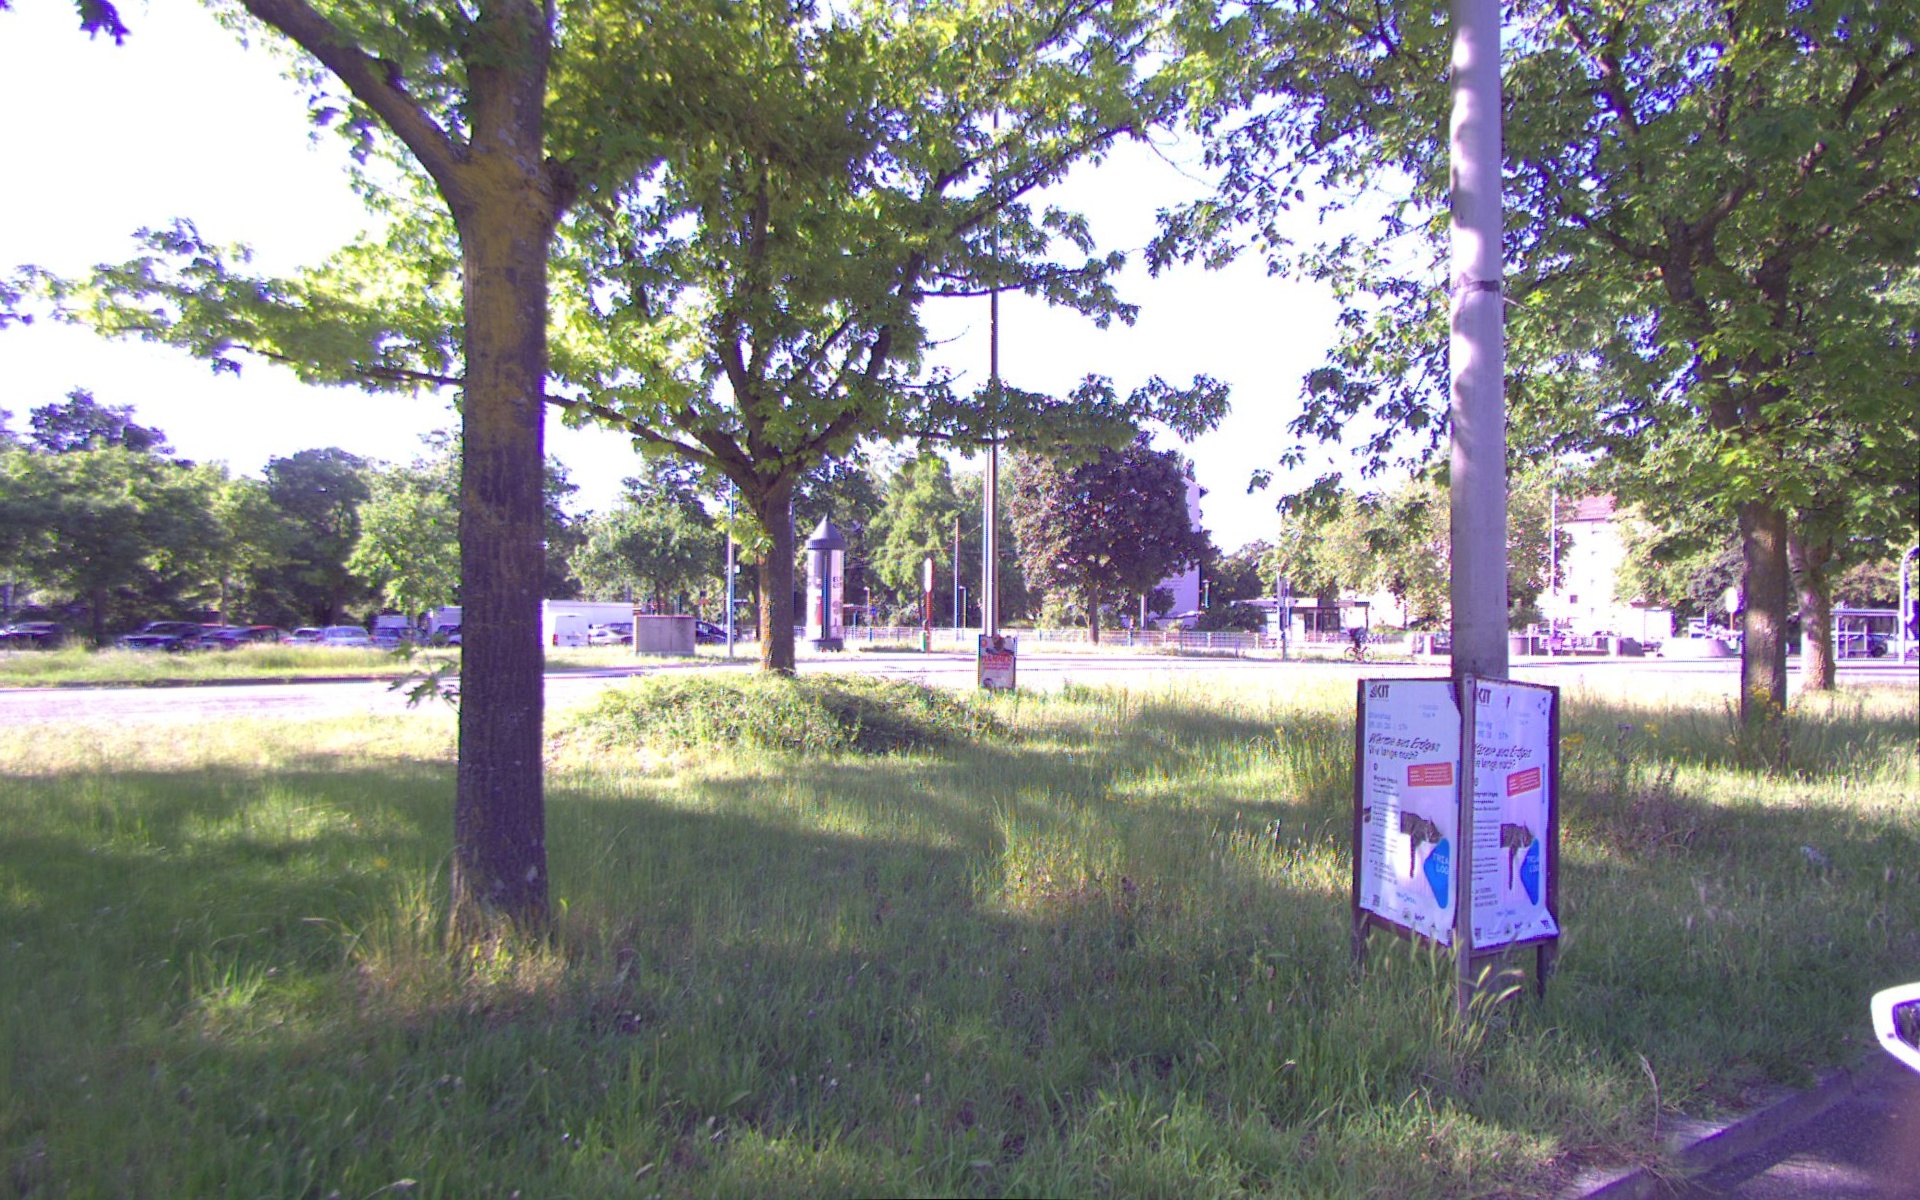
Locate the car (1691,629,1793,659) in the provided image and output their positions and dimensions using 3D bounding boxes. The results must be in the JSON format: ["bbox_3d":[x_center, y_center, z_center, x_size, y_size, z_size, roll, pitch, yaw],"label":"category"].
[{"bbox_3d":[47.232,2.638,60.768,4.457,1.565,1.873,1,2,14],"label":"car"}]

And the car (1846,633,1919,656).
[{"bbox_3d":[63.771,3.016,68.814,1.651,1.468,4.361,1,-1,-34],"label":"car"}]

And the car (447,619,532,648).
[{"bbox_3d":[-25.847,1.842,55.330,3.932,1.493,1.964,1,1,-14],"label":"car"}]

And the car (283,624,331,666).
[{"bbox_3d":[-30.350,2.059,46.728,1.635,1.628,3.854,1,2,-30],"label":"car"}]

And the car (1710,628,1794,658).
[{"bbox_3d":[49.638,2.661,62.979,3.922,1.741,1.763,0,2,-3],"label":"car"}]

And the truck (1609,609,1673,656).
[{"bbox_3d":[46.052,2.160,68.040,1.959,3.035,4.832,0,0,13],"label":"truck"}]

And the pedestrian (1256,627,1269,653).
[{"bbox_3d":[21.781,2.854,72.444,0.714,1.853,0.559,1,-1,-9],"label":"pedestrian"}]

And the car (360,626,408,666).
[{"bbox_3d":[-27.915,2.200,48.763,1.631,1.628,3.861,1,2,-25],"label":"car"}]

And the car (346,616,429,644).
[{"bbox_3d":[-33.160,1.727,58.335,3.943,1.530,1.989,1,-1,-23],"label":"car"}]

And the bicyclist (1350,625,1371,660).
[{"bbox_3d":[17.895,1.895,44.933,0.663,1.551,0.613,0,1,-4],"label":"bicyclist"}]

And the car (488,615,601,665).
[{"bbox_3d":[-17.967,1.691,43.403,4.917,2.040,2.232,0,-1,35],"label":"car"}]

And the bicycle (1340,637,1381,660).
[{"bbox_3d":[17.911,2.177,44.926,1.626,1.014,0.614,1,-1,-4],"label":"bicycle"}]

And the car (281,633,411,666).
[{"bbox_3d":[-22.606,1.801,37.034,3.962,1.143,1.803,2,-1,-37],"label":"car"}]

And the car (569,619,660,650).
[{"bbox_3d":[-15.742,1.549,45.739,3.934,1.299,1.994,0,-1,35],"label":"car"}]

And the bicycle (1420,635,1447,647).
[{"bbox_3d":[33.857,2.932,71.829,1.652,0.850,0.548,0,-1,18],"label":"bicycle"}]

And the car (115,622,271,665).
[{"bbox_3d":[-26.787,1.514,35.210,3.929,1.467,1.819,1,-1,-11],"label":"car"}]

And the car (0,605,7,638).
[{"bbox_3d":[-55.201,1.179,55.016,4.097,1.824,1.980,1,-1,-36],"label":"car"}]

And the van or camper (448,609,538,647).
[{"bbox_3d":[-26.723,1.590,57.647,4.326,2.124,1.995,1,-1,-14],"label":"van or camper"}]
